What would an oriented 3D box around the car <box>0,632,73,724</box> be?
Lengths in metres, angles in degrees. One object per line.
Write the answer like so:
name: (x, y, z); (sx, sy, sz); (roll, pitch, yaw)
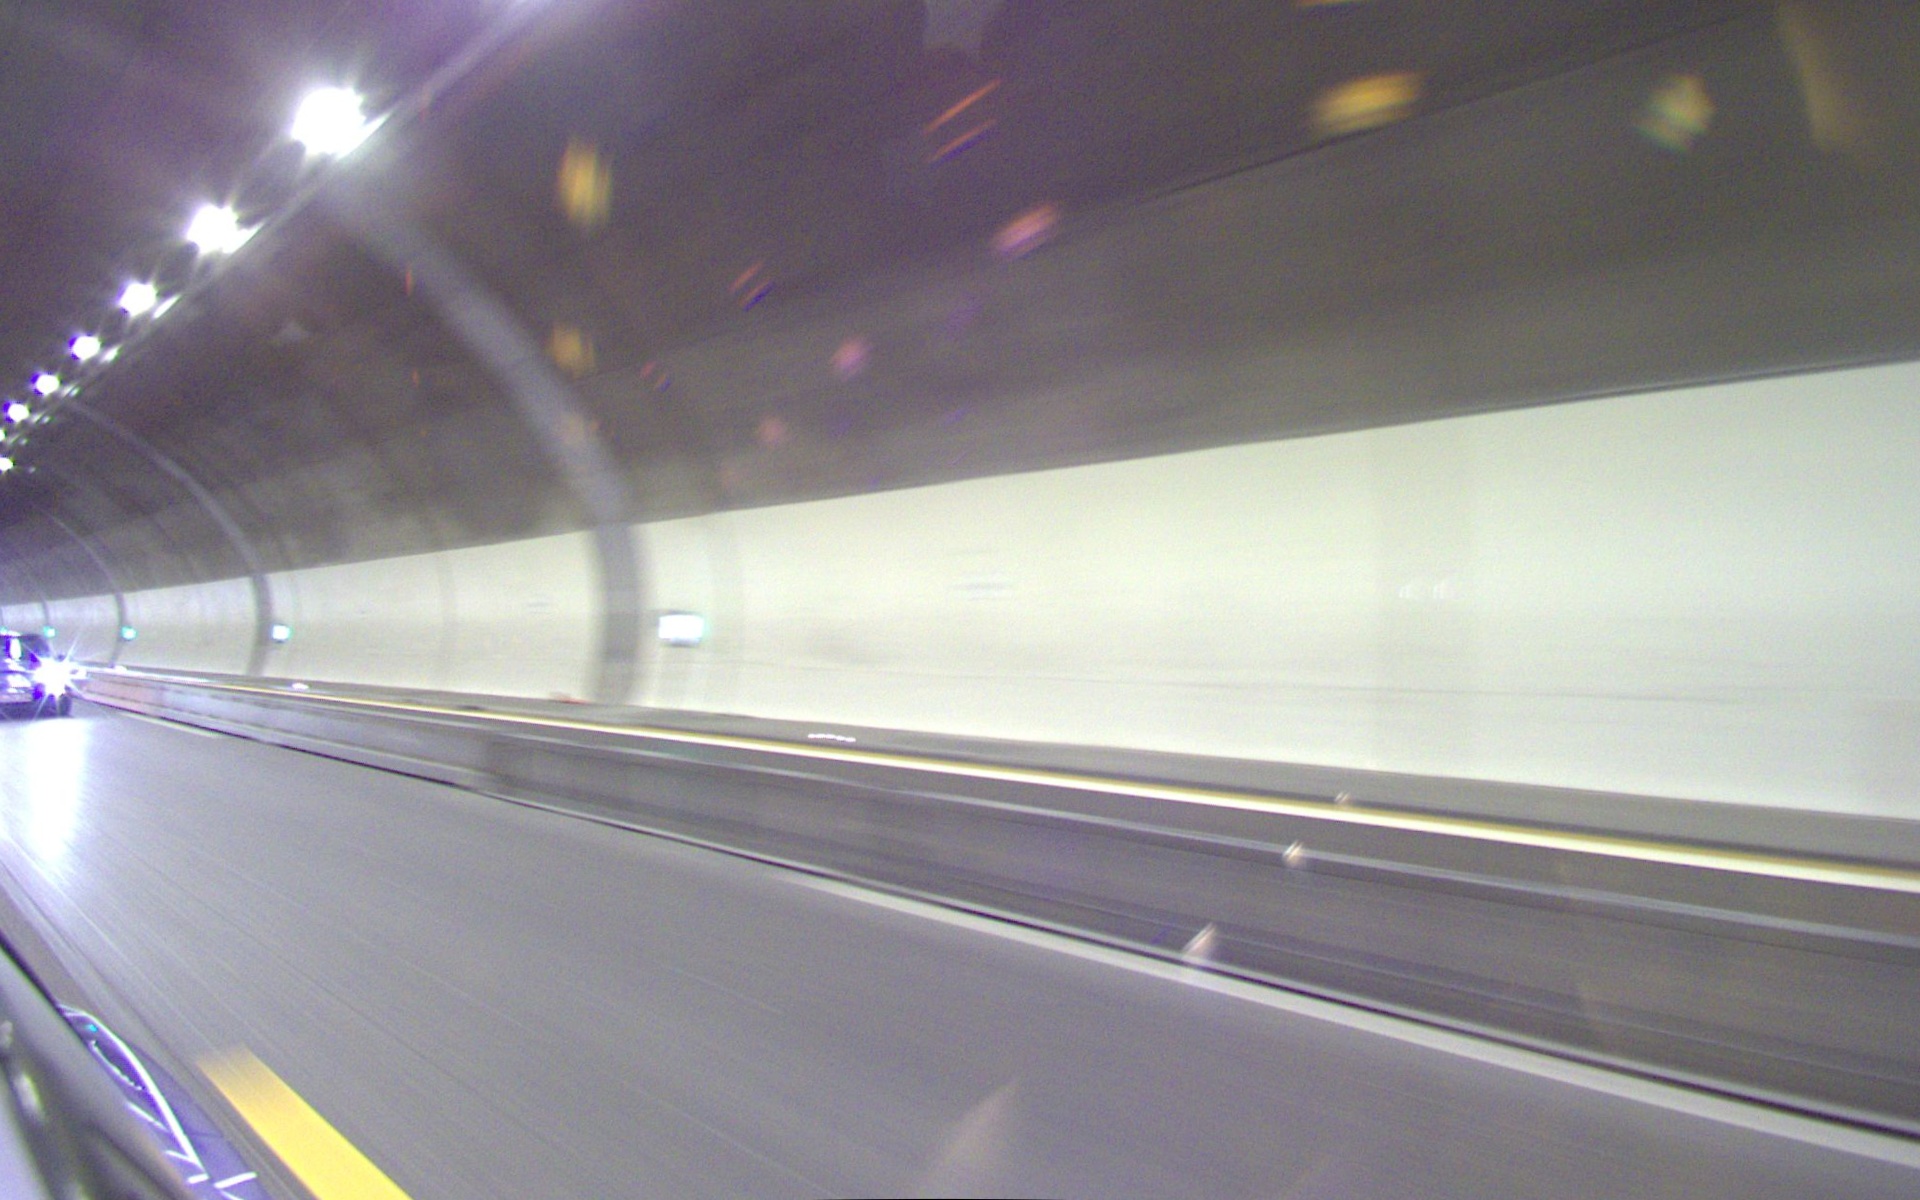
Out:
car: (-16.333, 1.260, 17.018); (3.655, 1.414, 1.635); (-1, -2, 41)
